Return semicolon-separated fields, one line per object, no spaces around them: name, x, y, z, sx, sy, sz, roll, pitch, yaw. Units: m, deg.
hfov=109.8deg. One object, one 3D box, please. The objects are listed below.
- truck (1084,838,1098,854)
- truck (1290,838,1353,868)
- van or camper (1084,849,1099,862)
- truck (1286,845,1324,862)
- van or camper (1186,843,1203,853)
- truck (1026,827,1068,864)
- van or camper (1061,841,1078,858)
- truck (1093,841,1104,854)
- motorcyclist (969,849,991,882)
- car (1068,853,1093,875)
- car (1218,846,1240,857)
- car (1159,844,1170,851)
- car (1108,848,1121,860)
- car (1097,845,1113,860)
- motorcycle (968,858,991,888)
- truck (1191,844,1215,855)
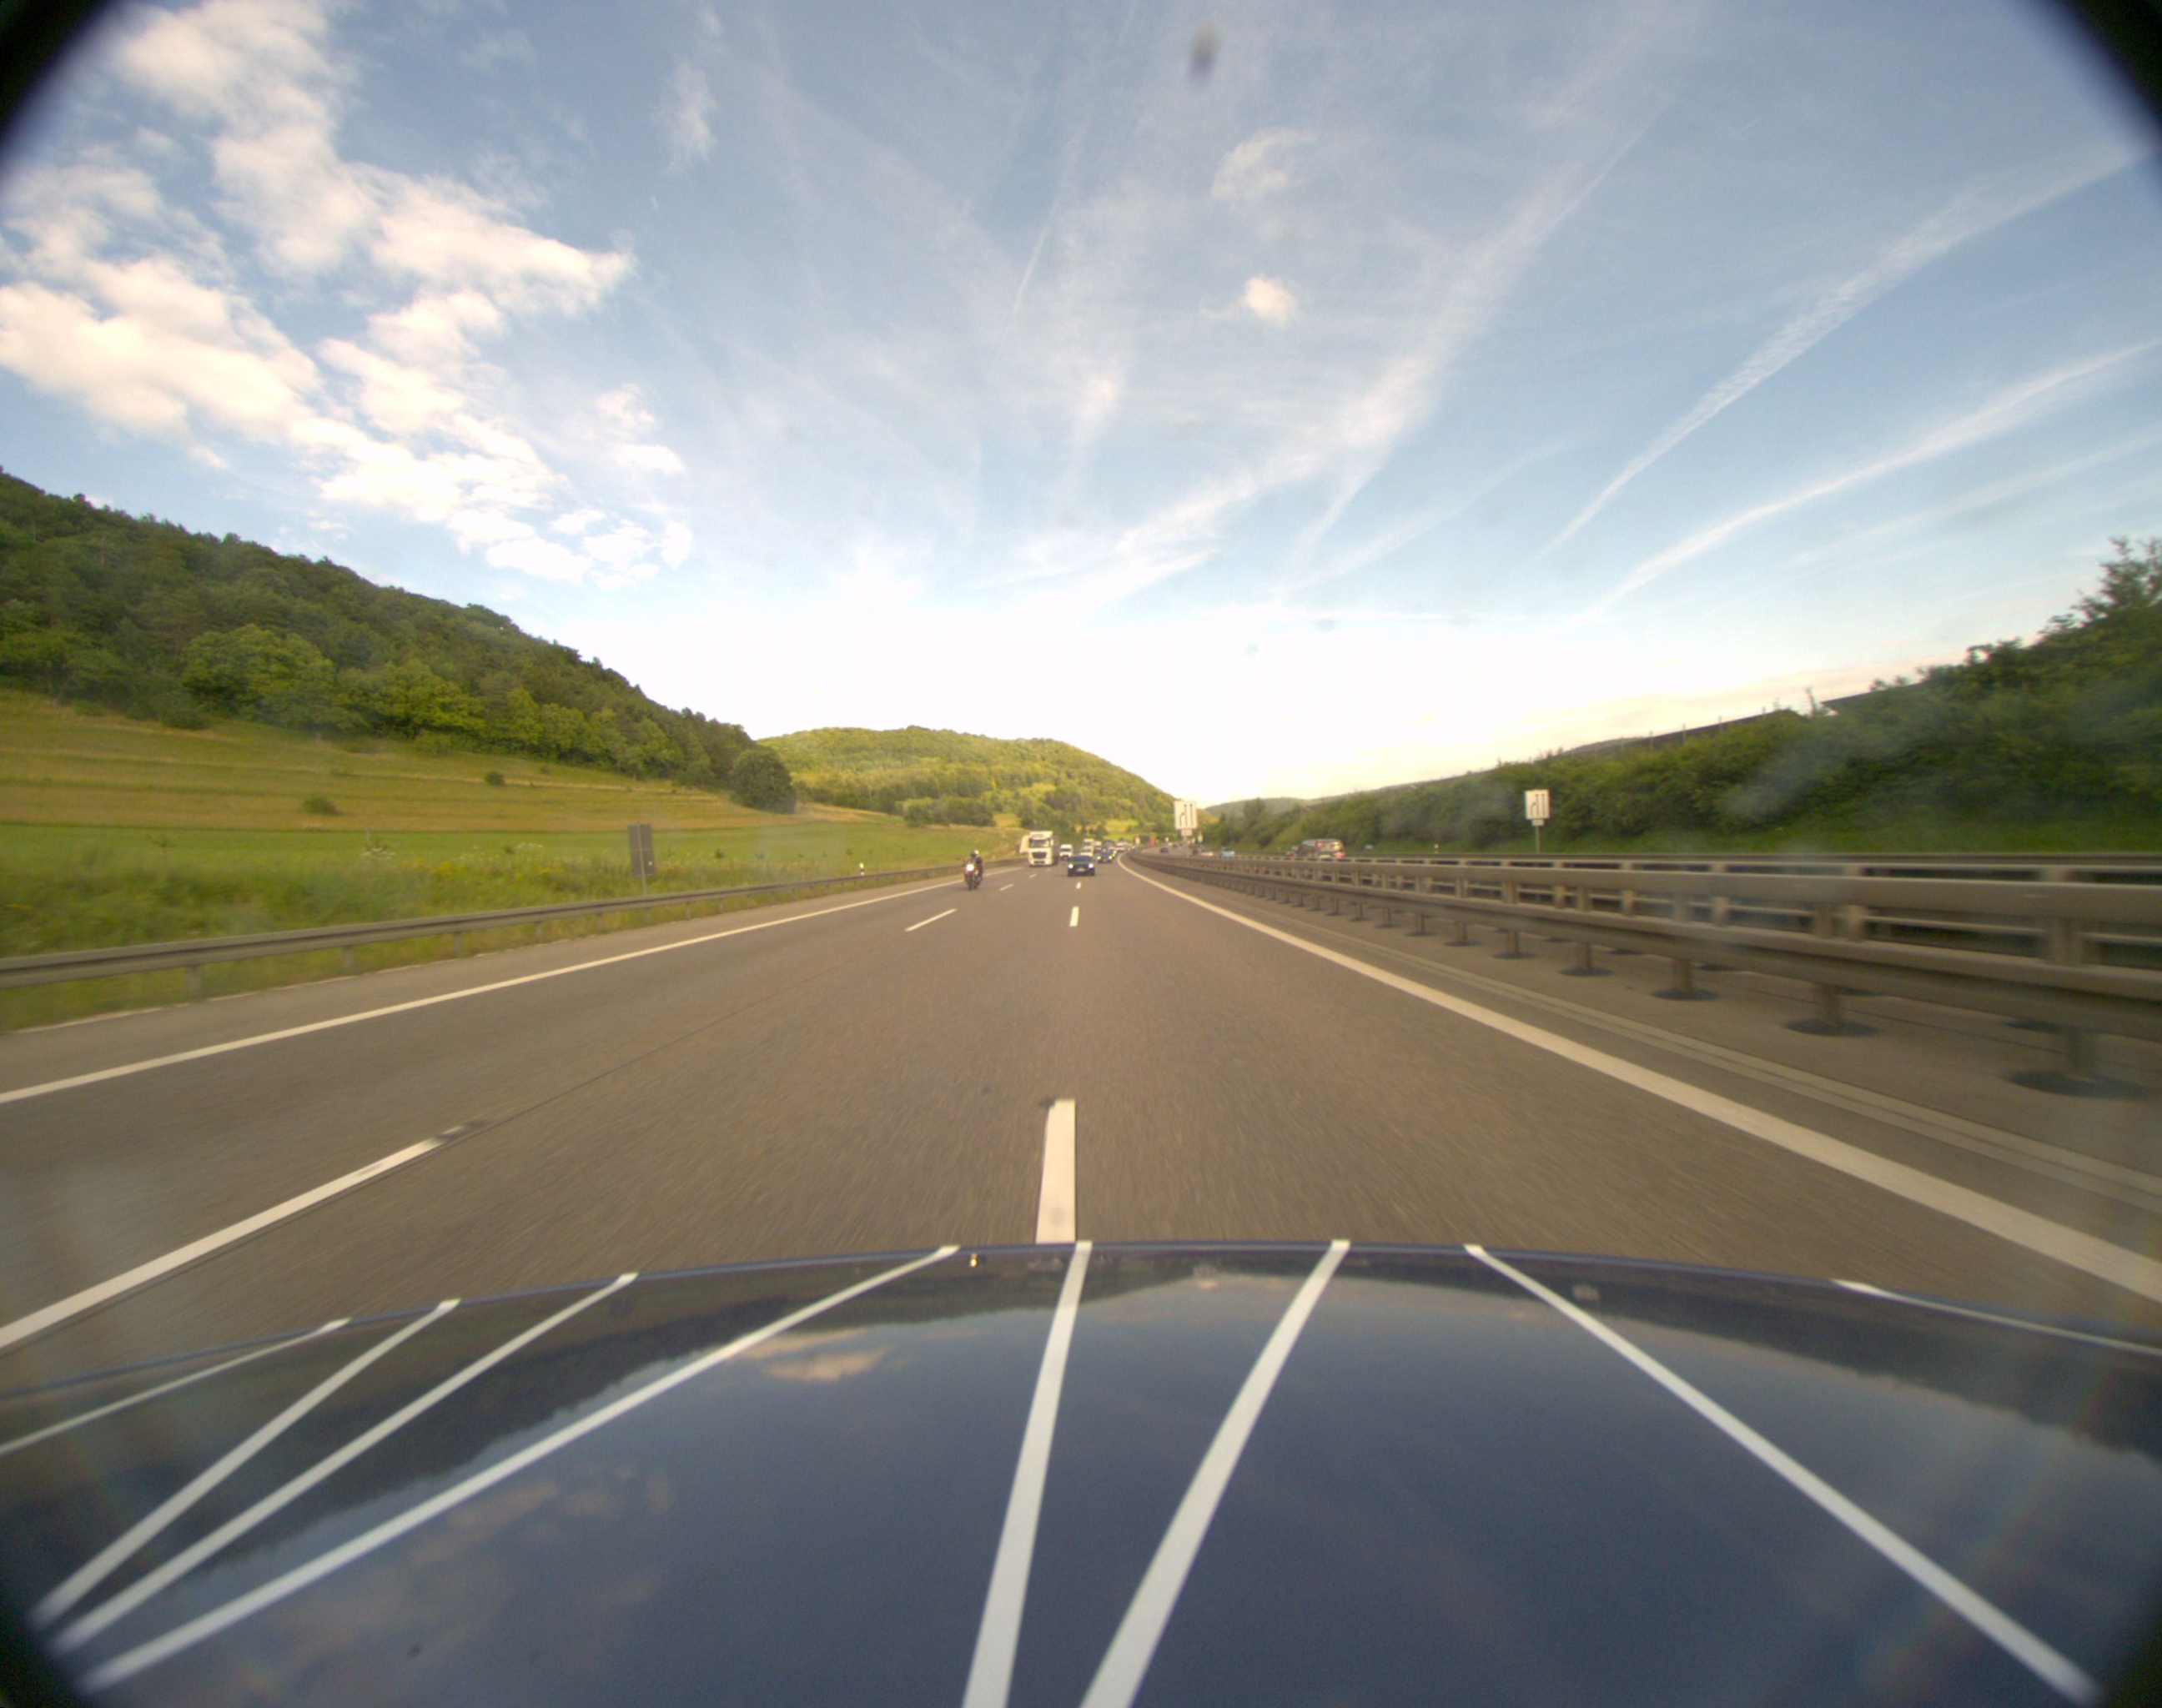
truck;2.714;-2.195;198.101;2.924;3.876;13.011;-1;1;4
truck;13.252;-0.055;42.213;1.998;1.585;4.846;0;0;1
van or camper;1.611;0.239;114.268;1.998;1.881;4.487;-1;1;3
truck;18.532;-0.075;63.088;1.998;1.345;3.946;0;0;0
van or camper;19.779;-1.051;132.501;1.999;1.650;5.453;0;0;0
truck;-3.829;-1.051;90.890;2.971;3.969;17.733;-1;1;4
van or camper;-1.861;-0.781;127.952;1.998;2.702;7.524;-1;1;5
truck;5.337;-1.972;232.579;2.707;3.627;9.035;-1;1;5
motorcyclist;-4.798;0.528;36.131;0.879;1.506;0.797;-2;2;3
car;0.002;0.654;51.200;1.580;1.310;4.000;-2;1;2
car;18.992;-0.318;97.660;1.999;1.345;4.355;-2;0;0
car;20.113;-1.592;183.230;1.999;1.422;4.586;-2;1;0
car;5.562;-0.047;126.487;1.998;1.871;4.000;0;0;2
car;3.063;-0.169;96.182;1.998;1.871;4.000;0;0;2
motorcycle;-4.802;0.896;36.080;0.628;1.331;1.740;-1;1;8
truck;13.831;-0.531;86.100;1.999;1.215;3.999;0;0;-1
